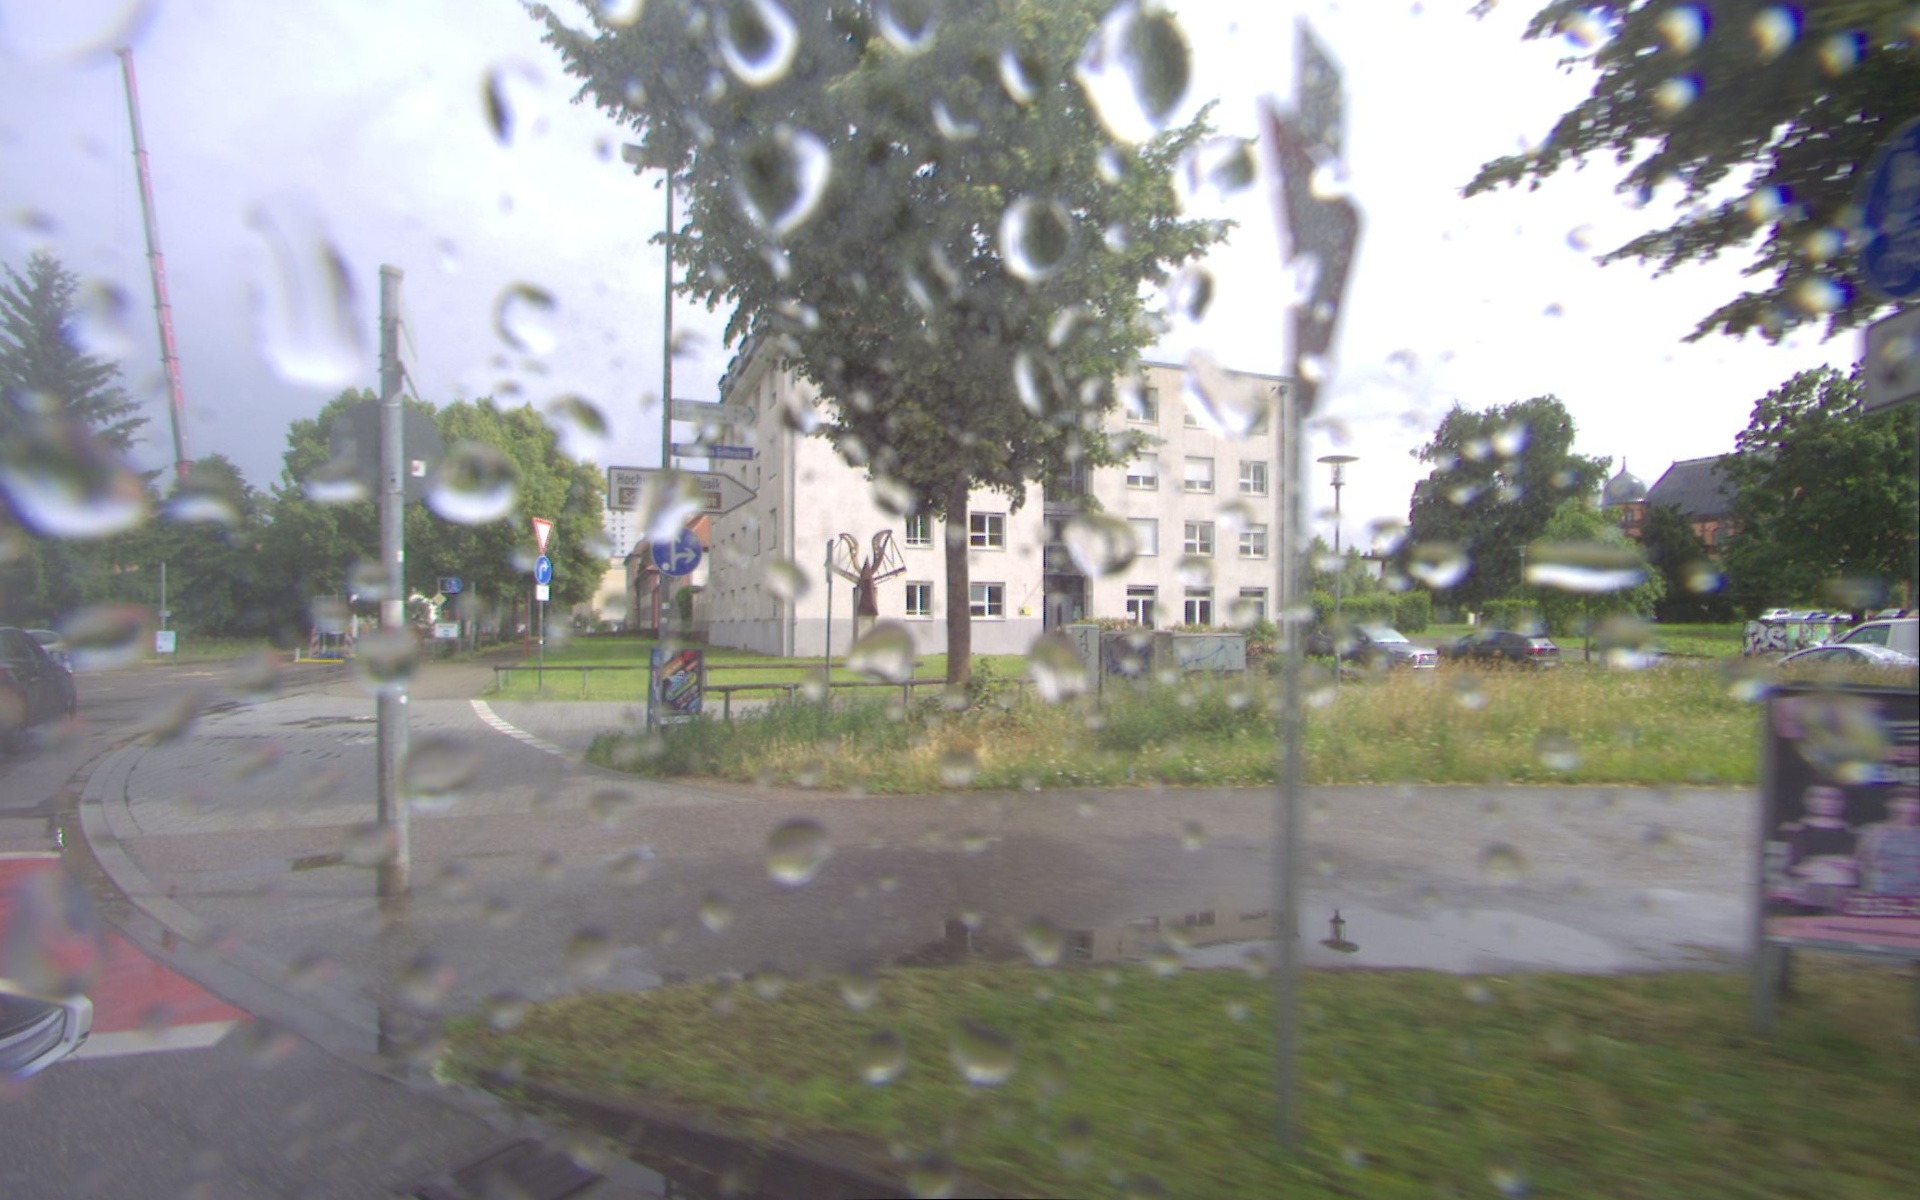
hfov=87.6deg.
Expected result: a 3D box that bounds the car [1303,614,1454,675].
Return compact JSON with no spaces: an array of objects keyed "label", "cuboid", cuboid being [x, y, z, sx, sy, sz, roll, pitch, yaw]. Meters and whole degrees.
[{"label":"car","cuboid":[12.486,1.289,30.178,1.821,1.573,4.092,1,1,-22]}]

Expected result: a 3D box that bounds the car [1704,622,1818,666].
[{"label":"car","cuboid":[39.815,2.158,49.881,1.969,2.039,3.986,3,-2,-24]}]

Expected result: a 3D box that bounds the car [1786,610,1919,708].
[{"label":"car","cuboid":[21.439,1.255,21.726,2.076,2.084,5.151,0,0,-17]}]

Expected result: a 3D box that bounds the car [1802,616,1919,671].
[{"label":"car","cuboid":[35.963,1.694,39.320,1.969,2.039,3.986,3,-2,-24]}]

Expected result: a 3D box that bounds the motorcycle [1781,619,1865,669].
[{"label":"motorcycle","cuboid":[32.558,1.636,37.821,0.649,1.790,2.342,3,-1,-24]}]

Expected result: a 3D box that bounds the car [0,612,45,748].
[{"label":"car","cuboid":[-12.886,0.951,12.343,1.880,1.638,3.972,2,-2,-36]}]

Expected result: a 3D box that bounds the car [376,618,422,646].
[{"label":"car","cuboid":[-38.722,2.174,69.237,2.047,1.754,4.686,3,-2,-21]}]

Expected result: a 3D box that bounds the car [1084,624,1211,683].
[{"label":"car","cuboid":[5.116,1.419,27.752,1.649,1.501,3.727,1,-1,-24]}]

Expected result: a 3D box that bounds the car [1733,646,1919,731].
[{"label":"car","cuboid":[18.066,1.716,20.234,1.580,1.529,3.614,1,-2,-18]}]

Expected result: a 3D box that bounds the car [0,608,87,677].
[{"label":"car","cuboid":[-26.410,1.111,27.230,2.044,1.754,4.693,3,-2,-14]}]

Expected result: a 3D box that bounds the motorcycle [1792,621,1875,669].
[{"label":"motorcycle","cuboid":[33.836,1.718,38.840,0.649,1.790,2.342,3,-1,-24]}]

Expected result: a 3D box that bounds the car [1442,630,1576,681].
[{"label":"car","cuboid":[17.528,1.723,32.146,1.635,1.364,3.571,0,1,-19]}]

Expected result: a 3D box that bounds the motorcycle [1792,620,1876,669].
[{"label":"motorcycle","cuboid":[33.395,1.684,38.288,0.649,1.790,2.342,3,-1,-24]}]

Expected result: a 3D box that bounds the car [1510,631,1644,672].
[{"label":"car","cuboid":[20.471,1.671,33.360,1.635,1.252,3.573,0,-2,-20]}]
